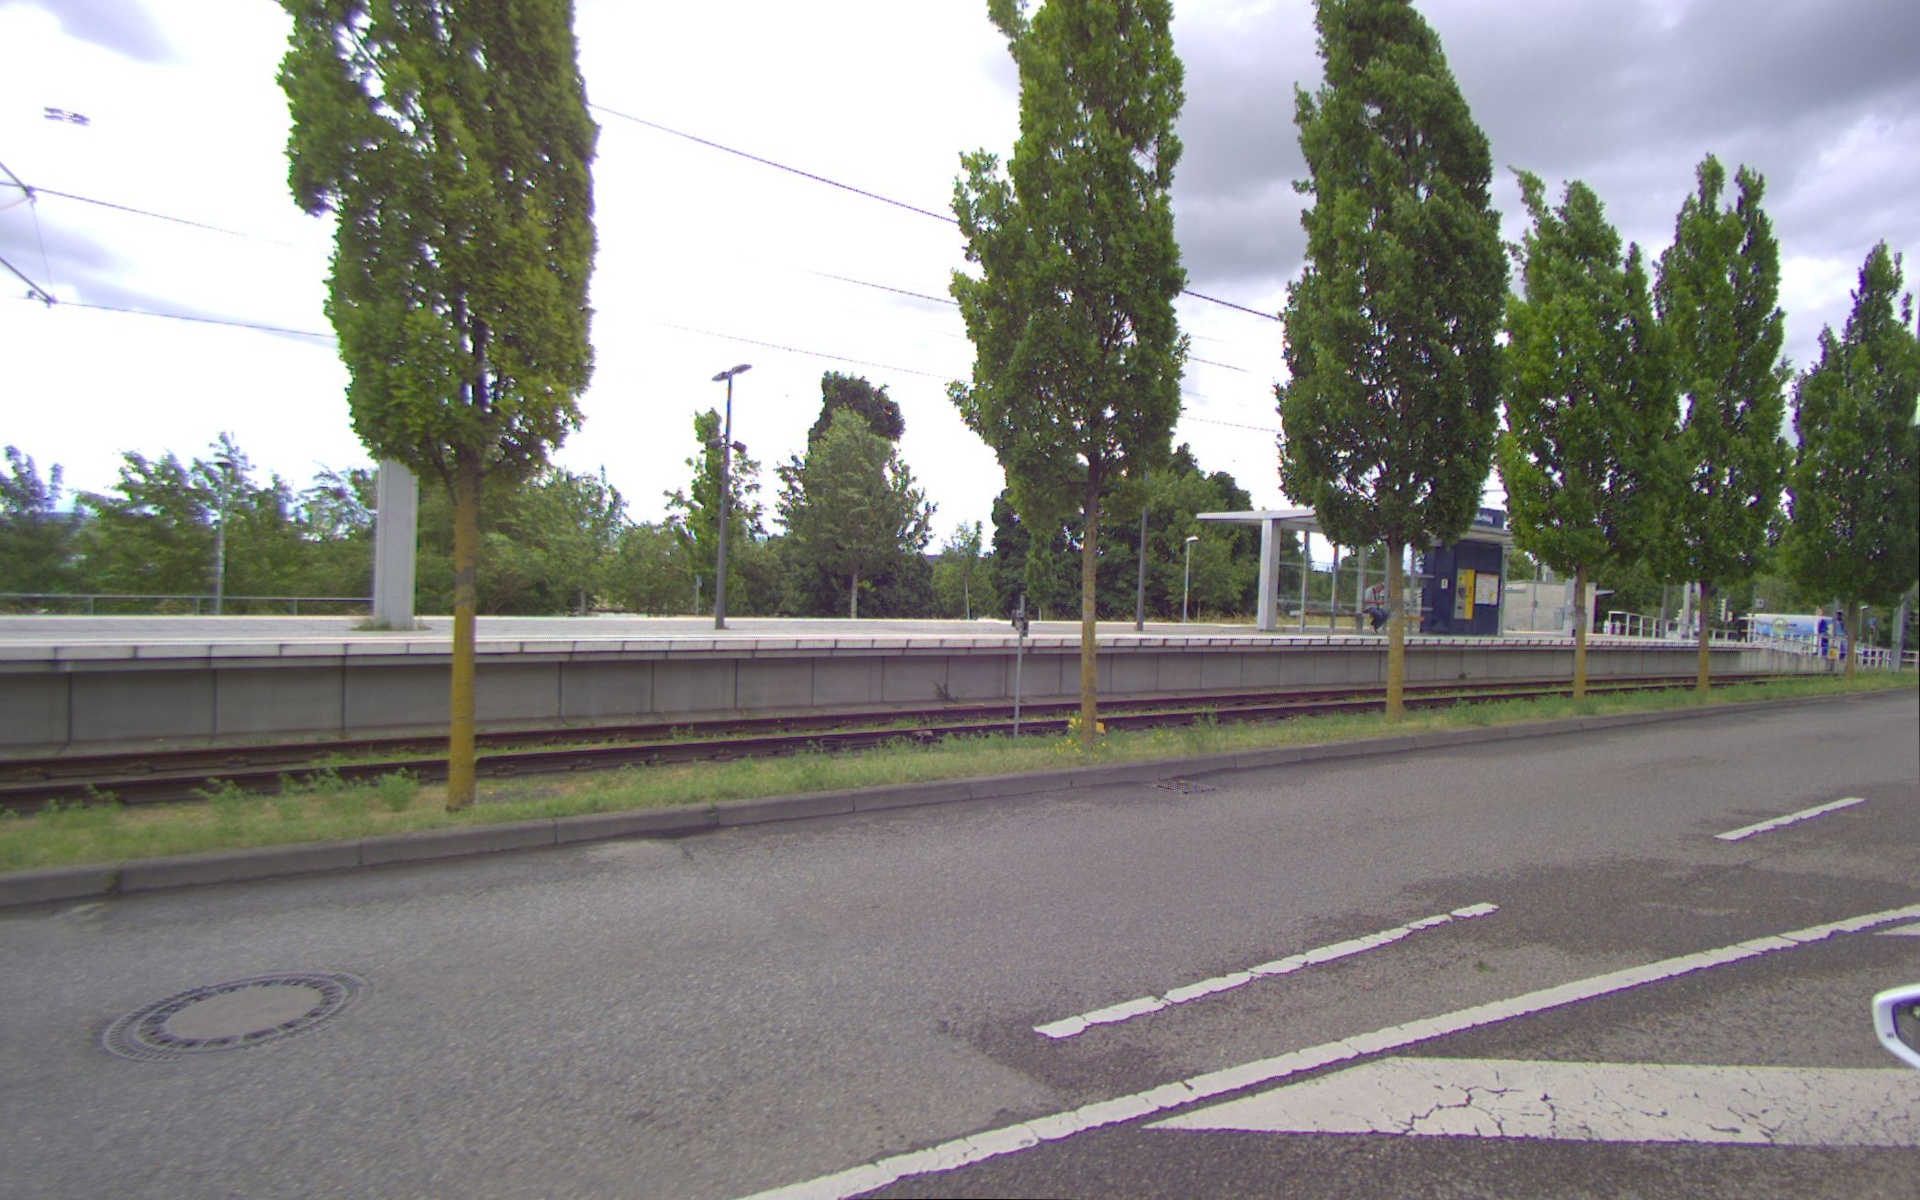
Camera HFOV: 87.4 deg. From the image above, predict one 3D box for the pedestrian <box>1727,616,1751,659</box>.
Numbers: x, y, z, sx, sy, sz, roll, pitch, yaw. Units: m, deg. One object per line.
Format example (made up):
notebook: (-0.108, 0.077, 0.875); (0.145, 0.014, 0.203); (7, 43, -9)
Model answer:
pedestrian: (34.281, 1.655, 44.211); (0.785, 1.852, 0.568); (3, 0, -35)

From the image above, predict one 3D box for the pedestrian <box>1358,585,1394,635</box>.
pedestrian: (10.788, 0.247, 26.056); (0.653, 1.286, 0.605); (-1, 1, -36)

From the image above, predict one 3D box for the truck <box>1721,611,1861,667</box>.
truck: (59.050, 2.648, 71.581); (2.660, 3.647, 7.204); (-1, 1, -30)
